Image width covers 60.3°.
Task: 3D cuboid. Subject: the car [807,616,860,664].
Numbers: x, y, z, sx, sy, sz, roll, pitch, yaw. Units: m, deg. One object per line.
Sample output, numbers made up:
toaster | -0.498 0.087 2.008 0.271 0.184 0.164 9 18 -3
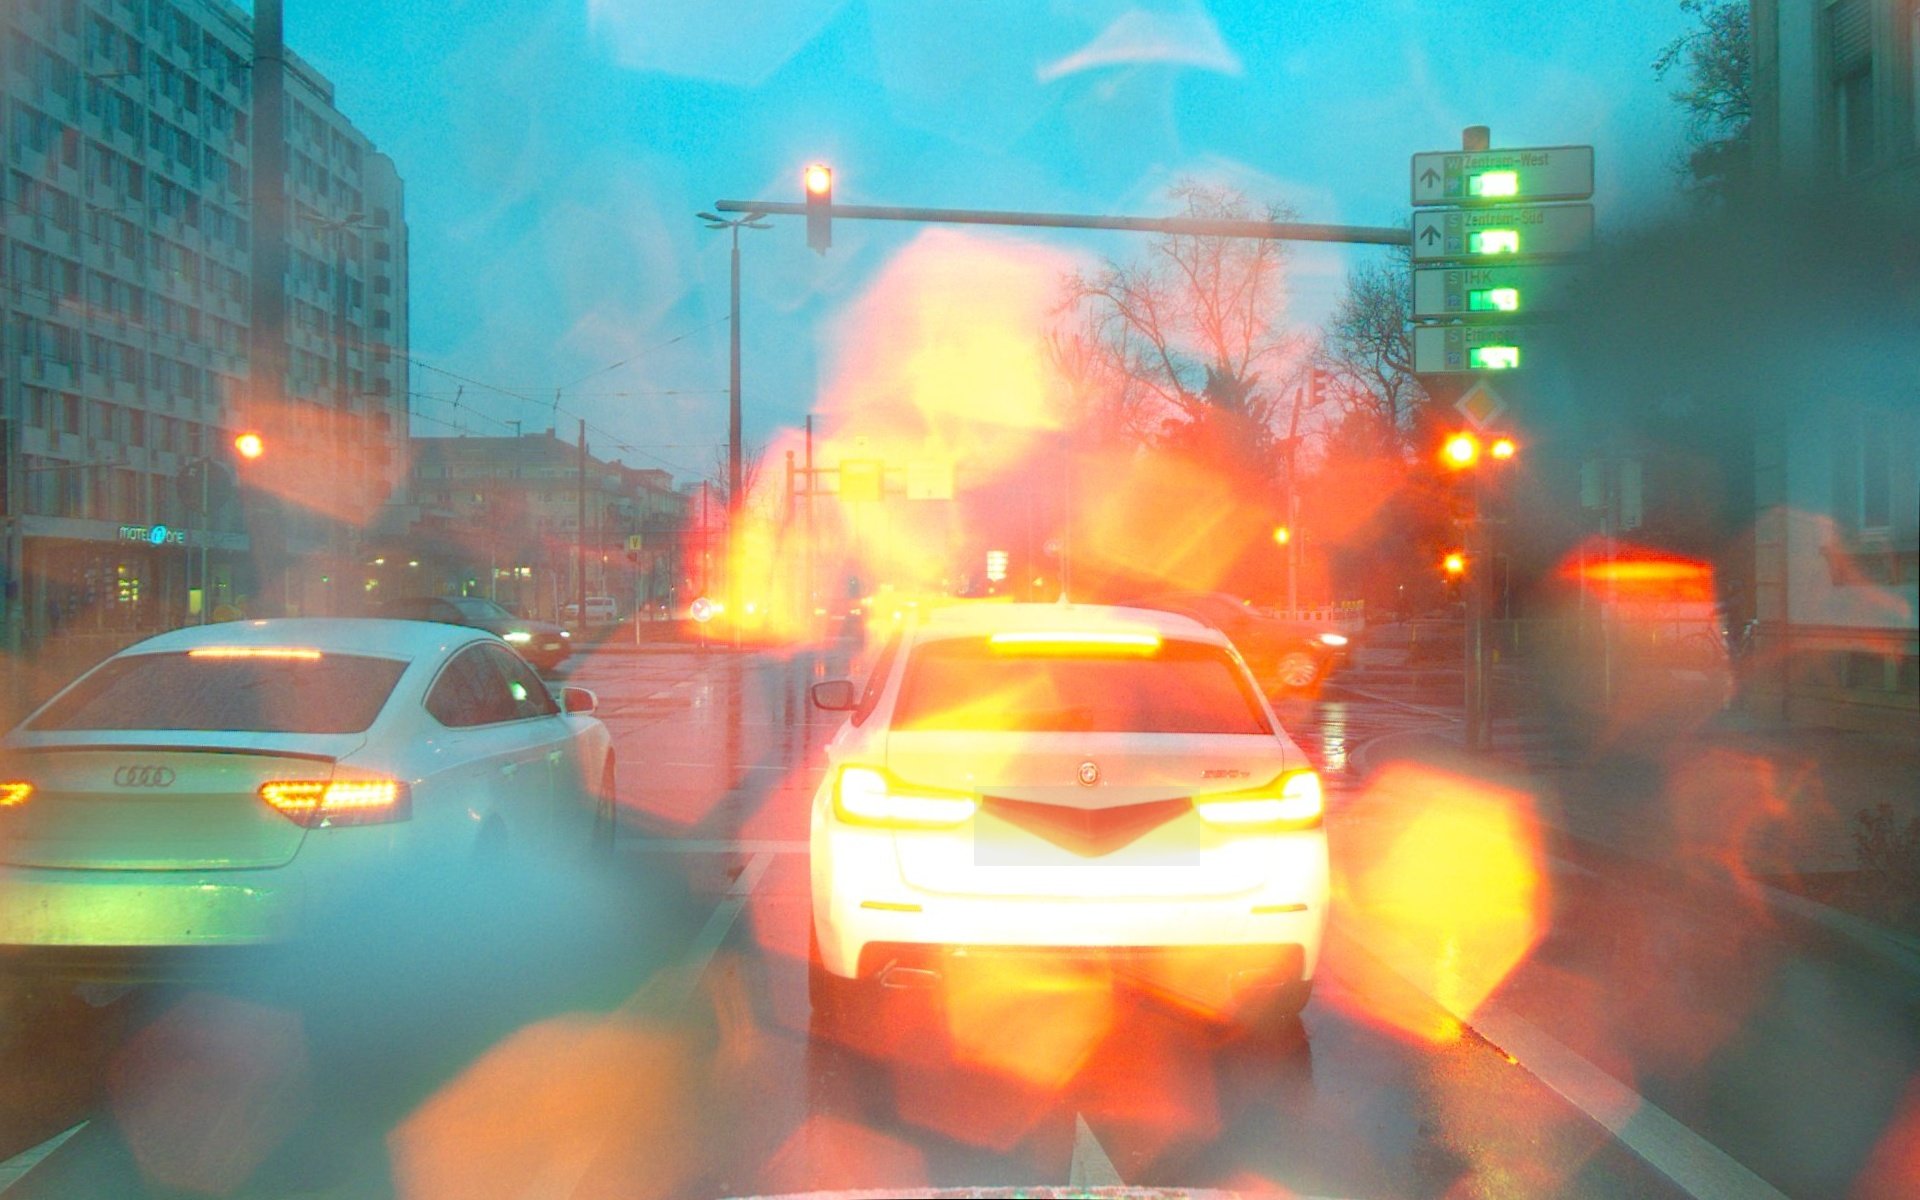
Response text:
car | -4.616 1.423 60.066 1.807 1.637 3.940 1 -1 -5

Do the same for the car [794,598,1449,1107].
car | 0.390 0.745 7.096 1.954 1.481 4.366 0 0 -3

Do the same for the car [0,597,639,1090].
car | -2.717 0.741 7.231 1.954 1.481 4.366 0 0 -3

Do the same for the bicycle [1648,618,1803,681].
bicycle | 14.527 0.932 31.465 2.612 1.108 0.815 1 -1 21

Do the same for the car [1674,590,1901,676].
car | 16.479 0.643 33.142 3.873 1.581 1.749 1 -1 21

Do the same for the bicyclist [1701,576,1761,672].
bicyclist | 14.651 0.450 31.442 0.952 1.789 0.813 1 -1 21

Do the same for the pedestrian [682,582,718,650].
pedestrian | -7.343 0.459 46.732 0.885 1.888 0.811 1 -1 -6

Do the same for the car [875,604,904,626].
car | -4.995 1.064 117.070 1.954 1.481 4.366 0 0 -3

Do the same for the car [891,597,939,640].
car | -1.800 0.750 67.160 1.805 1.637 3.944 1 -1 -1

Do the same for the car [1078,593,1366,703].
car | 4.493 0.794 28.278 4.598 1.751 1.902 0 -1 19

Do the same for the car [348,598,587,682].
car | -9.887 0.791 33.329 4.220 1.557 1.764 1 -1 9
